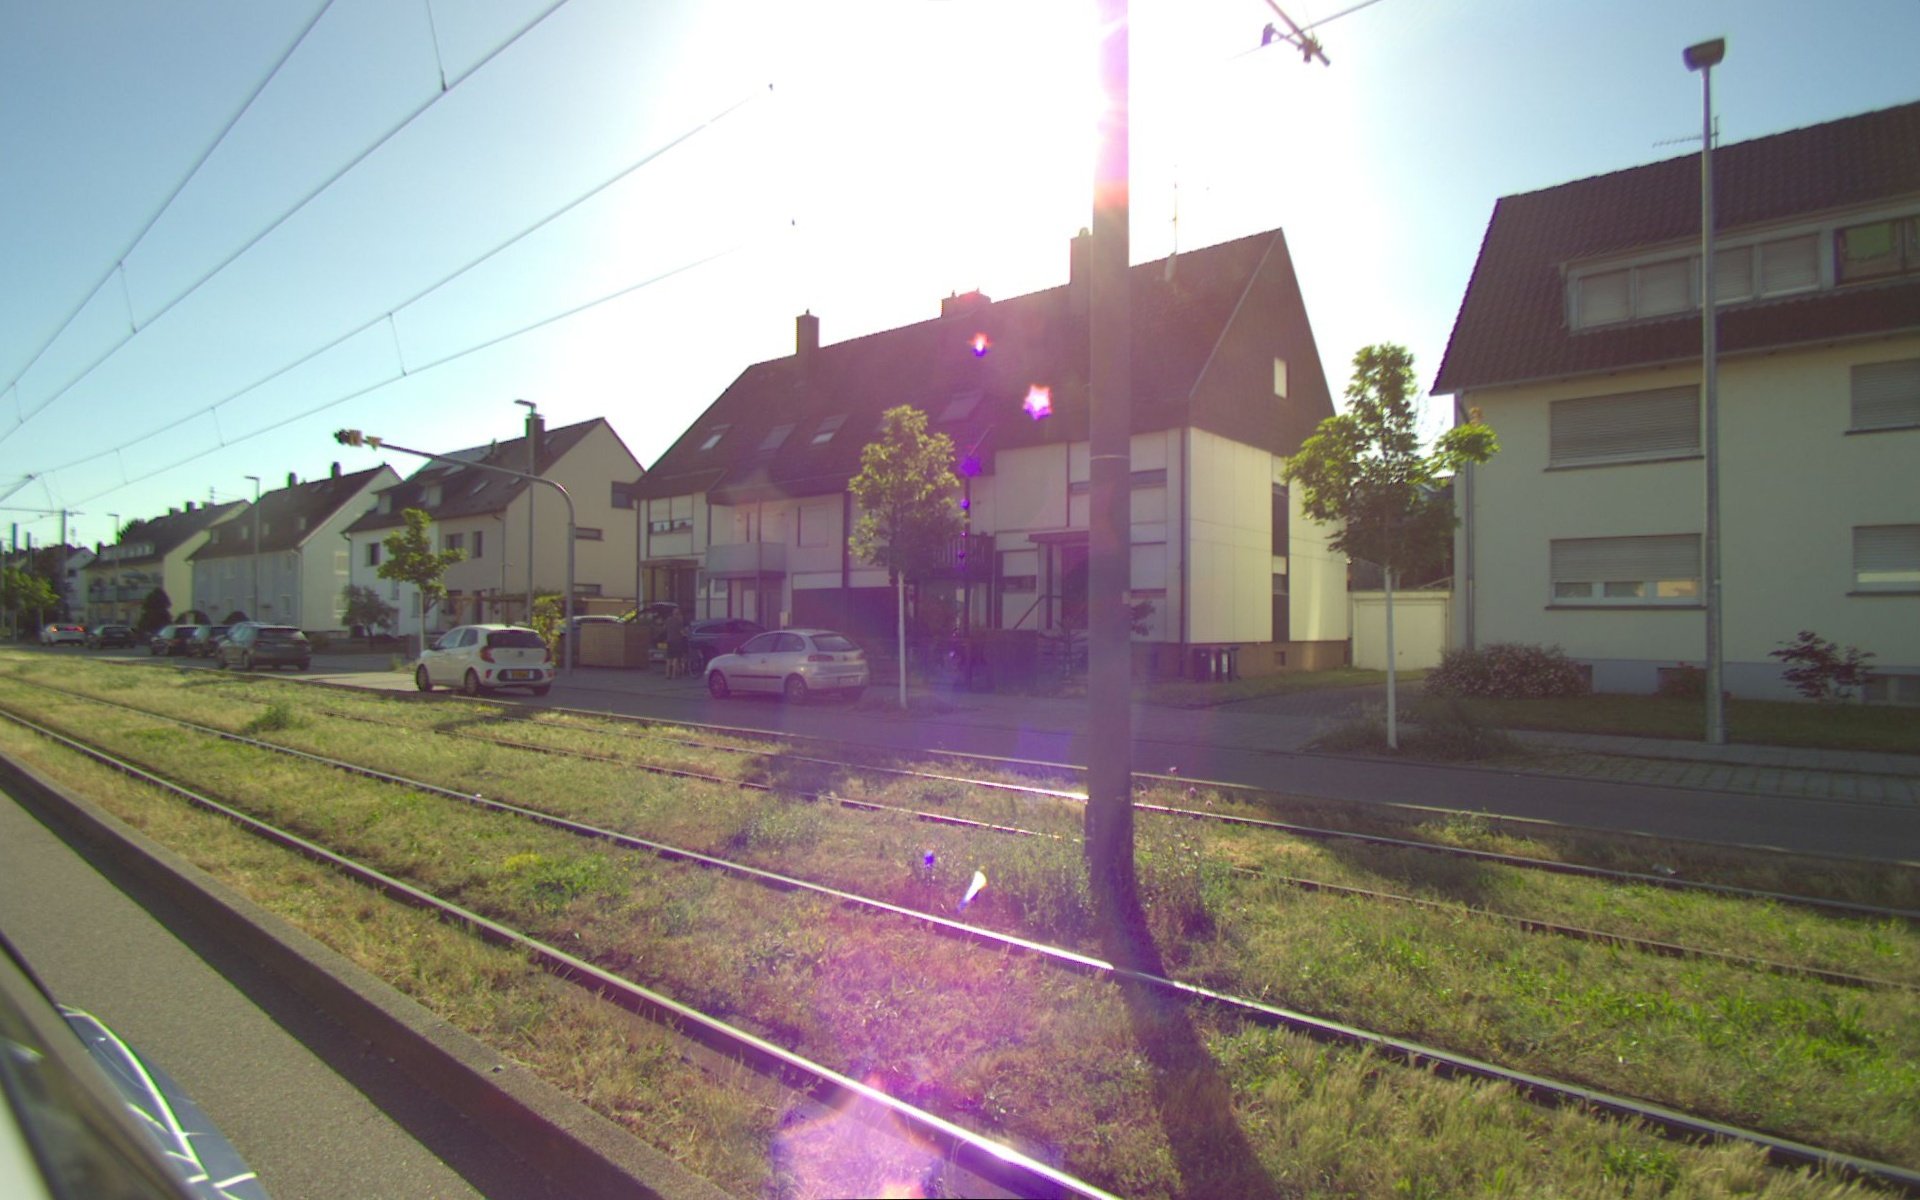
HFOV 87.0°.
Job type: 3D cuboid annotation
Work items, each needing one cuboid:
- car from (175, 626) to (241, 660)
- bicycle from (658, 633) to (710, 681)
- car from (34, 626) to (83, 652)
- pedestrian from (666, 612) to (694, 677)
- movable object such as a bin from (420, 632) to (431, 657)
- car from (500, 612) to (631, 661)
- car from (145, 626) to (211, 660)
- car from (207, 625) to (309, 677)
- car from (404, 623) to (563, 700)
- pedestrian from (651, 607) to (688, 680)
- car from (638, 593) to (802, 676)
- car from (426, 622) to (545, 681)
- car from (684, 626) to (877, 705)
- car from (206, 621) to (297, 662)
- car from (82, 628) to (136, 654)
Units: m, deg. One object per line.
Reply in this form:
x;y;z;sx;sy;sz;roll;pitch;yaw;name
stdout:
-34.016;1.953;45.760;3.994;1.479;1.451;-2;-3;39;car
-7.227;1.473;26.456;0.471;1.172;1.873;-1;0;-44;bicycle
-58.697;2.505;65.864;4.089;1.542;1.808;-1;0;40;car
-7.586;1.190;27.378;0.544;1.701;0.625;-1;0;-34;pedestrian
-21.868;1.820;41.435;0.607;1.021;0.196;-3;-2;43;movable object such as a bin
-15.198;1.381;39.162;1.968;1.797;4.347;-2;-2;40;car
-37.924;2.052;49.072;4.397;1.466;1.637;-1;0;40;car
-22.601;1.583;32.522;4.080;1.486;1.671;-1;0;40;car
-10.277;1.265;21.723;3.677;1.487;1.671;-1;-3;40;car
-7.481;1.101;26.069;0.676;1.829;0.610;-1;0;32;pedestrian
-6.936;0.931;29.642;1.786;2.096;4.414;-1;2;41;car
-13.540;1.409;28.787;4.083;1.523;1.602;-1;-1;42;car
-3.727;1.259;20.610;4.100;1.447;1.641;-1;-1;40;car
-29.825;1.695;42.531;4.854;1.572;1.901;-1;0;40;car
-49.299;2.341;58.604;4.089;1.408;1.683;-1;0;40;car
